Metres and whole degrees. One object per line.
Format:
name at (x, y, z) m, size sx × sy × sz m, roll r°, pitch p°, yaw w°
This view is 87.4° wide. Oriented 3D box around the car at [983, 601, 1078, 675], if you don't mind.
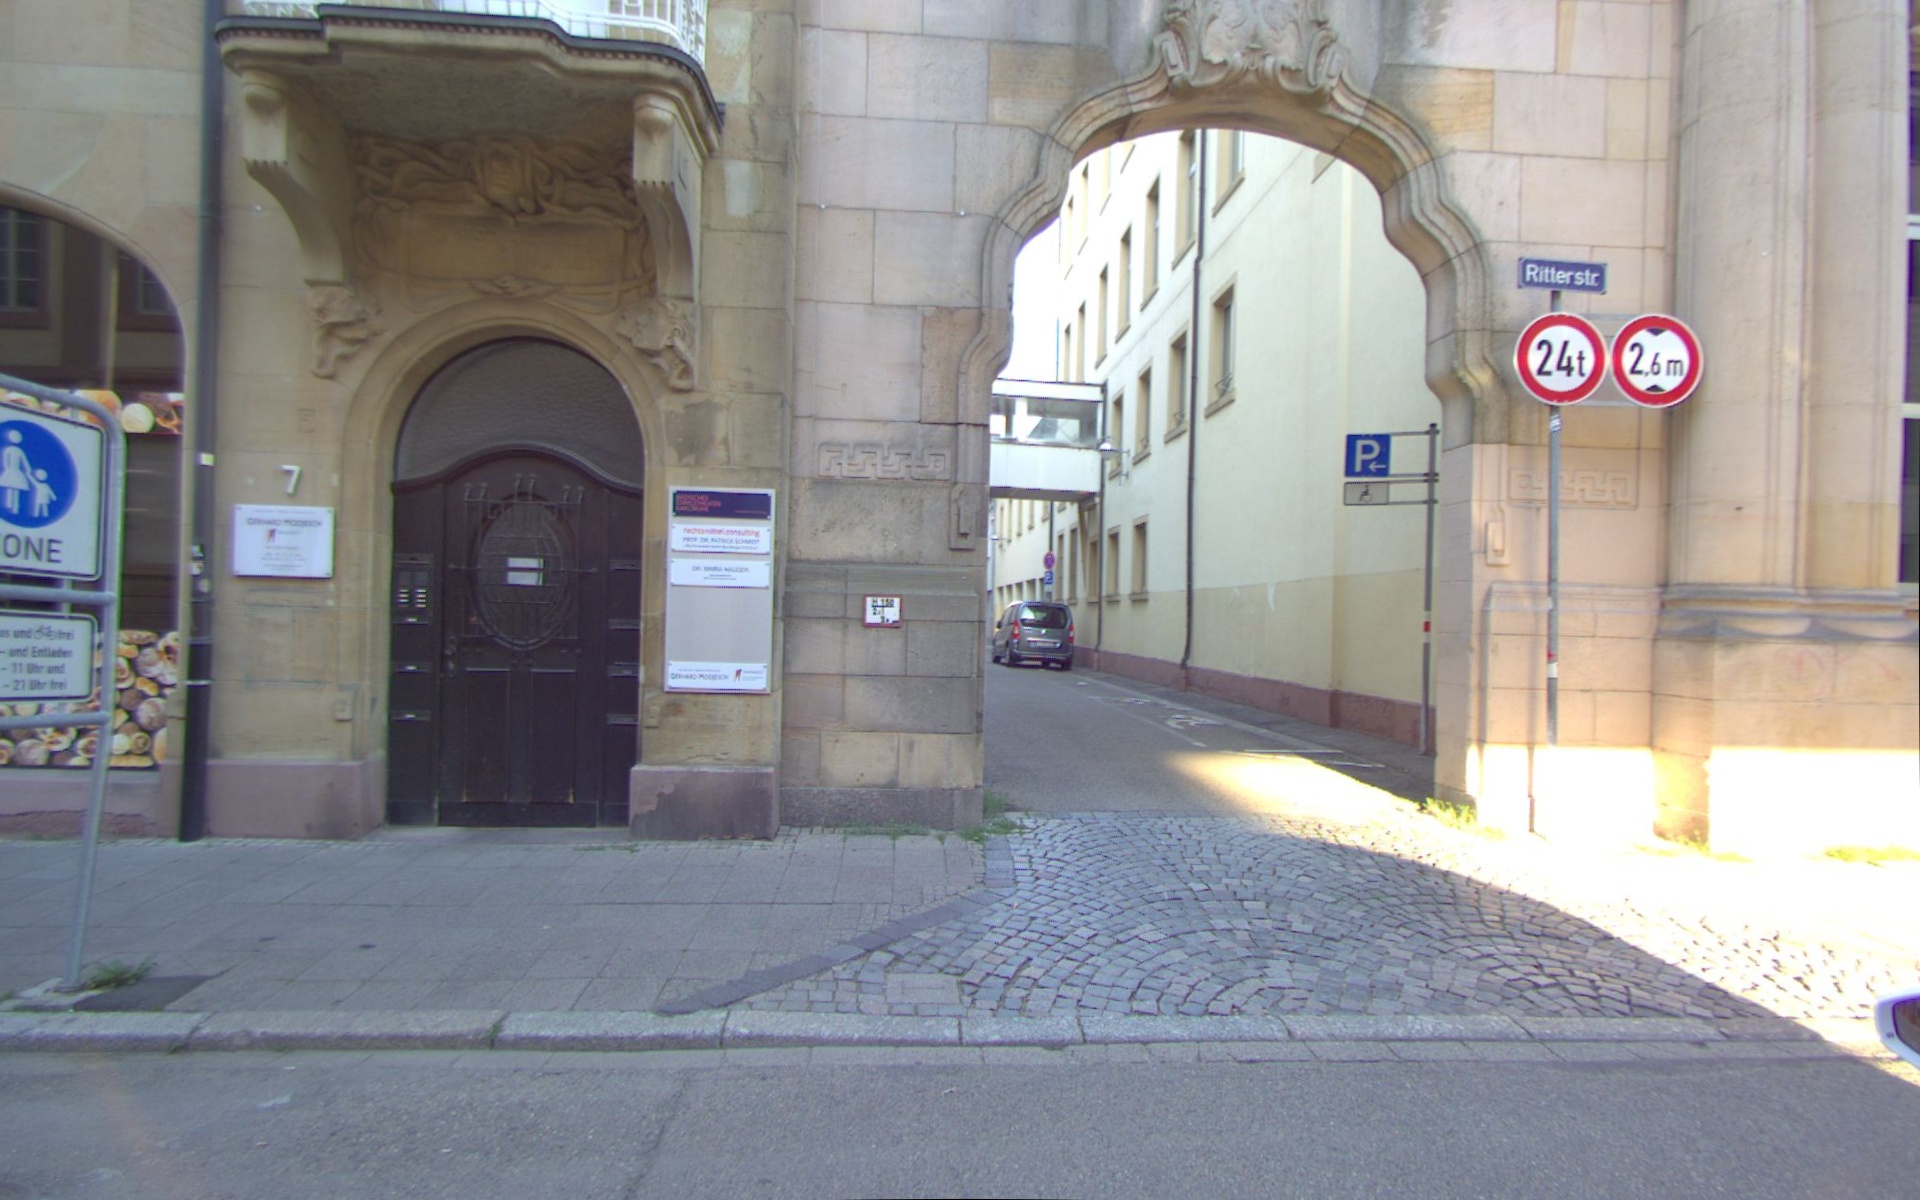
car at (1.898, 0.999, 28.347) m, size 1.827 × 1.778 × 4.158 m, roll 5°, pitch -1°, yaw -6°
